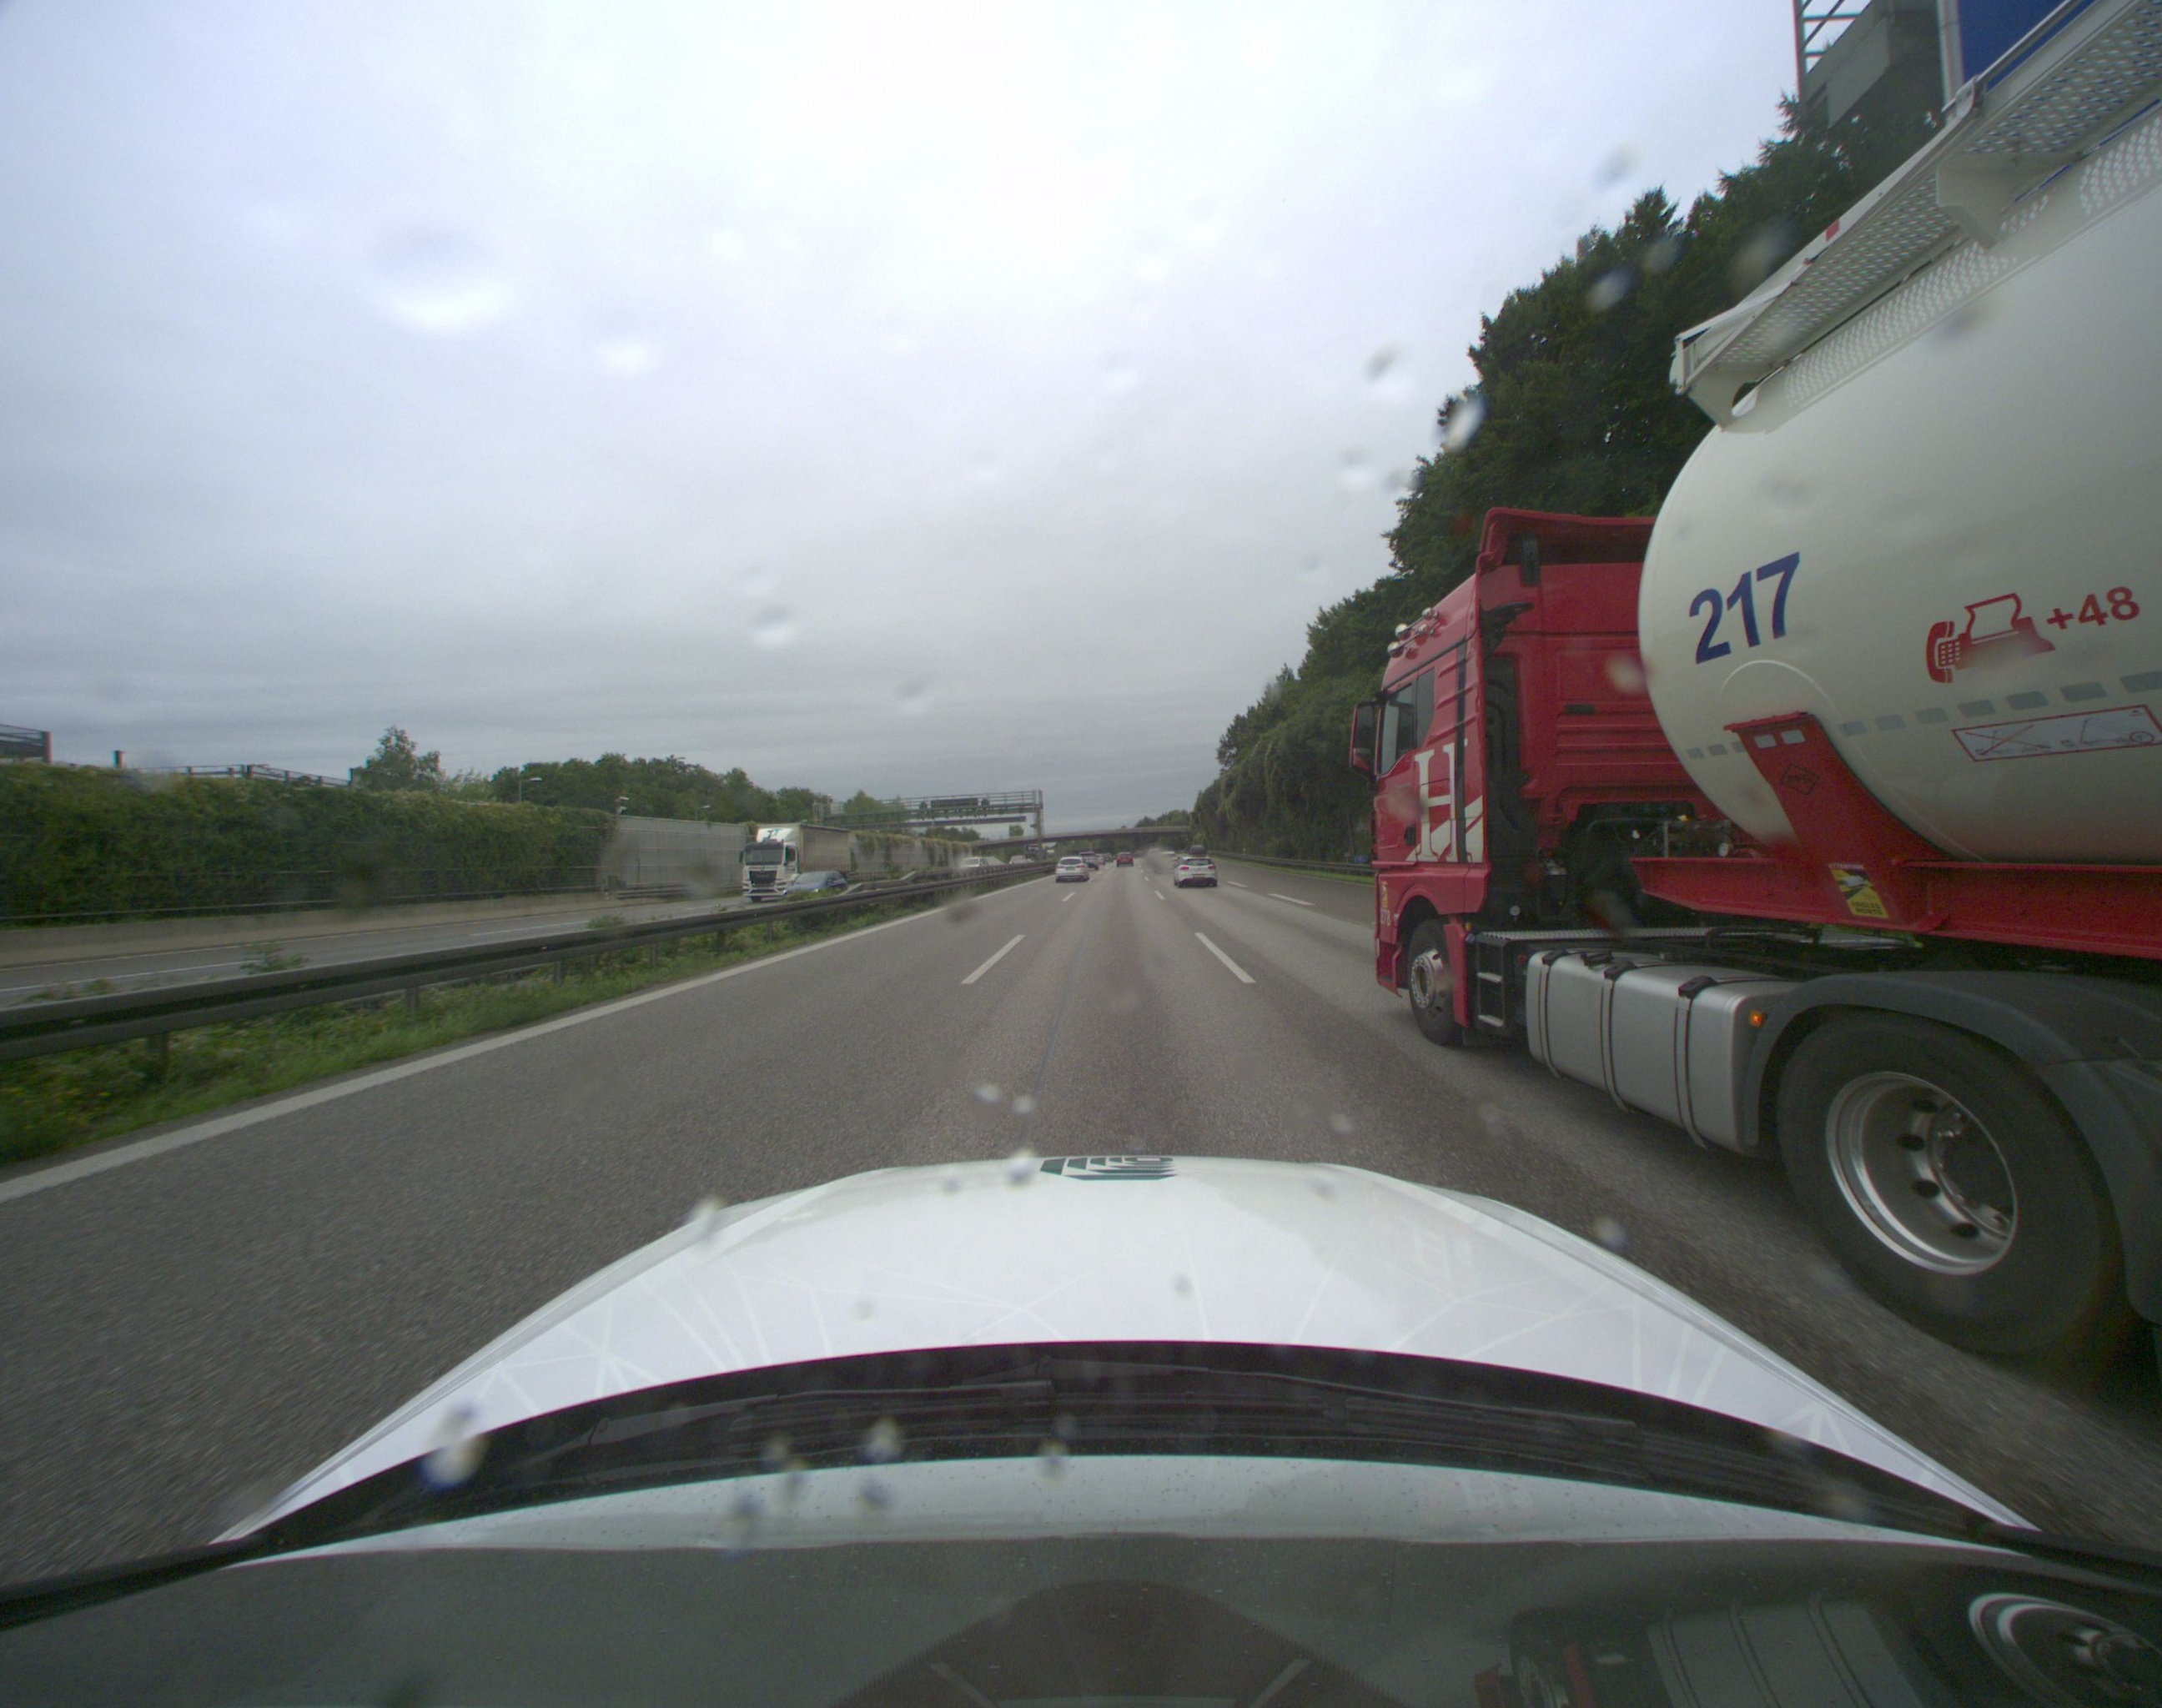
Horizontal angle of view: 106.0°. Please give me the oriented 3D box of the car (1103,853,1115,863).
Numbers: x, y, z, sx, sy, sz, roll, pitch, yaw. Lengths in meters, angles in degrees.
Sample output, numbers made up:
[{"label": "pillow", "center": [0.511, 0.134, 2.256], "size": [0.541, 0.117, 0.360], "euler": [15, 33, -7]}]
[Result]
[{"label": "car", "center": [4.455, 0.658, 128.525], "size": [1.681, 1.506, 3.876], "euler": [3, 0, 4]}]

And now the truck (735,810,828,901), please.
[{"label": "truck", "center": [-15.891, 0.094, 43.561], "size": [2.638, 4.473, 5.287], "euler": [-2, -1, 3]}]

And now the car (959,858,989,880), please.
[{"label": "car", "center": [-10.229, 1.421, 78.373], "size": [1.986, 2.014, 4.912], "euler": [-1, -1, 2]}]

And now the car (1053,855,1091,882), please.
[{"label": "car", "center": [-0.477, 0.844, 48.531], "size": [1.884, 1.504, 5.033], "euler": [-1, -1, 3]}]

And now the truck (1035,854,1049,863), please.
[{"label": "truck", "center": [-8.638, 0.940, 182.298], "size": [2.575, 1.809, 5.975], "euler": [3, 0, 2]}]

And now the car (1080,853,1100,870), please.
[{"label": "car", "center": [0.845, 0.672, 78.170], "size": [1.682, 1.506, 3.874], "euler": [3, 0, 3]}]

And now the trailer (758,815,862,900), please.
[{"label": "trailer", "center": [-15.666, 0.201, 47.833], "size": [2.657, 4.444, 8.580], "euler": [-2, 0, 3]}]

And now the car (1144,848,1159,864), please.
[{"label": "car", "center": [8.182, 0.278, 94.460], "size": [1.681, 1.779, 3.876], "euler": [-1, 0, 4]}]

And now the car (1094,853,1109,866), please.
[{"label": "car", "center": [2.674, 0.691, 106.907], "size": [1.681, 1.506, 3.876], "euler": [-3, 0, 4]}]

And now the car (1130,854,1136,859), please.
[{"label": "car", "center": [13.759, 0.701, 215.999], "size": [1.682, 1.422, 4.074], "euler": [-1, 0, 3]}]

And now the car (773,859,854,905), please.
[{"label": "car", "center": [-12.470, 1.283, 38.265], "size": [1.986, 2.014, 4.912], "euler": [-1, -1, 2]}]

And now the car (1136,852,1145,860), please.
[{"label": "car", "center": [11.913, 0.419, 163.506], "size": [1.681, 1.539, 3.876], "euler": [-1, 0, 4]}]

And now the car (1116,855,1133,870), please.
[{"label": "car", "center": [4.665, 0.882, 87.011], "size": [1.682, 1.506, 3.873], "euler": [3, 0, 2]}]

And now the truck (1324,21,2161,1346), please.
[{"label": "truck", "center": [3.947, -0.516, 5.669], "size": [2.685, 3.912, 6.559], "euler": [-1, -1, 2]}]

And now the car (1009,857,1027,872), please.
[{"label": "car", "center": [-8.675, 1.432, 111.757], "size": [1.986, 2.014, 4.002], "euler": [-1, -1, 2]}]

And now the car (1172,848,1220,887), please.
[{"label": "car", "center": [5.208, 0.610, 37.407], "size": [1.808, 1.625, 5.035], "euler": [-1, -1, 4]}]

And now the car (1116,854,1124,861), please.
[{"label": "car", "center": [9.316, 0.840, 194.812], "size": [1.681, 1.639, 3.876], "euler": [-2, -1, 4]}]

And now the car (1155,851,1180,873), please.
[{"label": "car", "center": [6.251, 0.604, 59.244], "size": [1.681, 1.506, 3.876], "euler": [-1, -1, 4]}]
